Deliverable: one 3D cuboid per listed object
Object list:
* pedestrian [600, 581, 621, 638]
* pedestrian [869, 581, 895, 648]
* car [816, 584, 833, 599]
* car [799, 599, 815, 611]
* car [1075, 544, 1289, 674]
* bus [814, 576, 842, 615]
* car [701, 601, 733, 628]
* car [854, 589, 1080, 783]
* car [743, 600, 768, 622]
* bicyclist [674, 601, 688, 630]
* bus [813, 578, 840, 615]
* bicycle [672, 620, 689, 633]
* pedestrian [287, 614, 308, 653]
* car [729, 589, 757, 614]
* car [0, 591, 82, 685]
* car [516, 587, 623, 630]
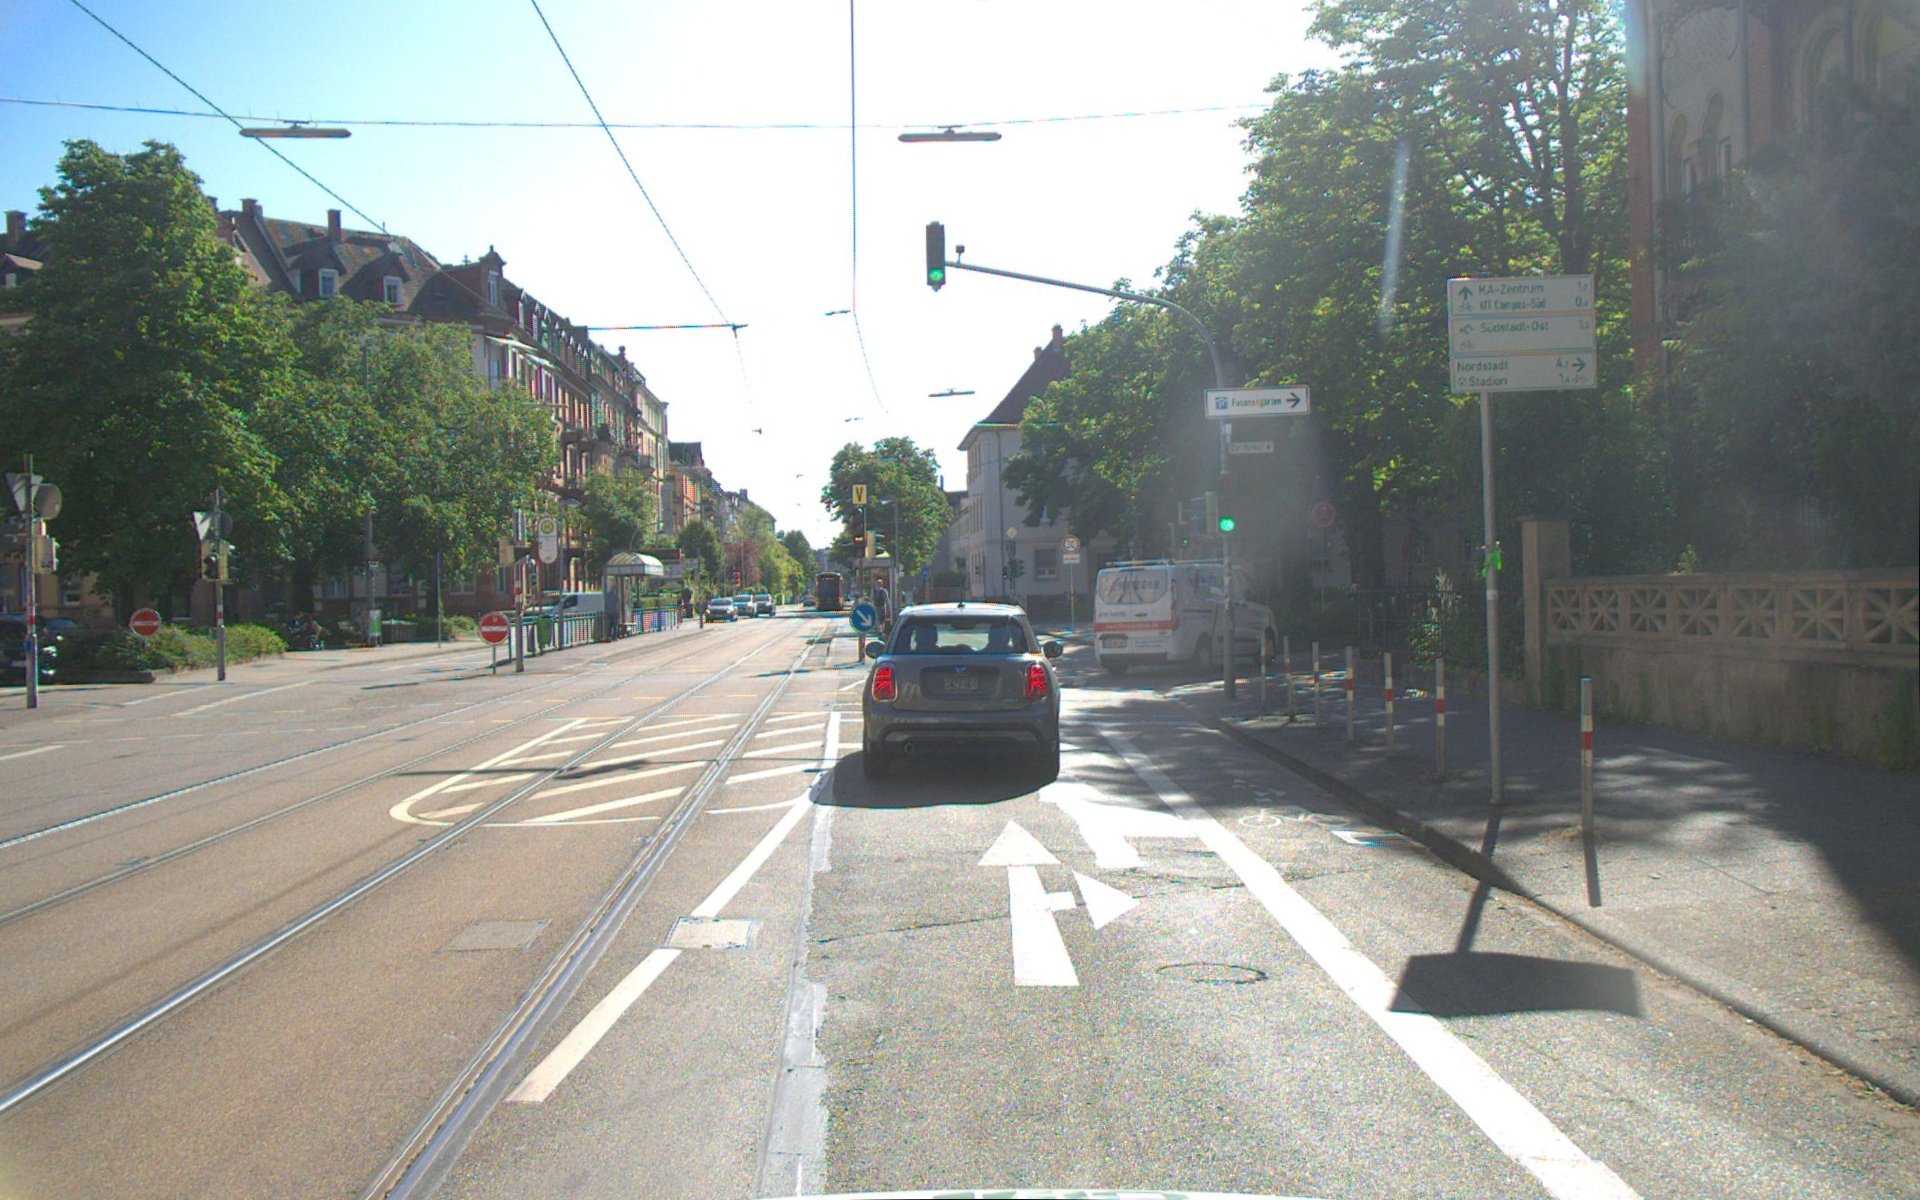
[{"bbox_3d":[-11.355,0.292,53.752,0.569,1.826,0.605,-2,0,-19],"label":"pedestrian"},{"bbox_3d":[-2.422,0.437,51.279,0.780,2.049,0.740,0,-1,-3],"label":"pedestrian"},{"bbox_3d":[-15.158,-0.909,185.204,1.827,1.591,3.995,0,0,-5],"label":"car"},{"bbox_3d":[-20.956,0.748,226.821,1.954,1.624,3.997,-1,0,-3],"label":"car"},{"bbox_3d":[4.295,0.167,31.275,2.081,2.247,4.930,-1,-1,33],"label":"car"},{"bbox_3d":[-12.168,-0.381,152.347,2.339,3.558,7.374,0,0,-6],"label":"bus"},{"bbox_3d":[-14.917,0.896,101.640,1.741,1.646,3.995,0,0,-5],"label":"car"},{"bbox_3d":[-0.007,0.695,15.128,1.779,1.514,3.998,-1,0,-2],"label":"car"},{"bbox_3d":[-15.445,0.839,125.209,1.741,1.646,3.995,0,0,-5],"label":"car"},{"bbox_3d":[-16.527,0.930,97.842,0.699,1.694,0.734,-1,-1,0],"label":"bicyclist"},{"bbox_3d":[-12.926,-0.306,159.705,2.339,3.558,7.374,0,0,-6],"label":"bus"},{"bbox_3d":[-16.531,1.568,97.868,0.704,0.763,1.916,-1,0,0],"label":"bicycle"},{"bbox_3d":[-21.193,1.061,52.946,0.569,1.222,0.604,-2,0,-21],"label":"pedestrian"},{"bbox_3d":[-14.854,0.113,113.450,1.741,1.646,3.995,0,0,-5],"label":"car"},{"bbox_3d":[-22.255,0.858,37.783,3.909,2.049,1.998,-1,-1,27],"label":"car"},{"bbox_3d":[-18.980,0.419,80.580,1.961,2.049,5.007,-1,-1,37],"label":"car"}]
